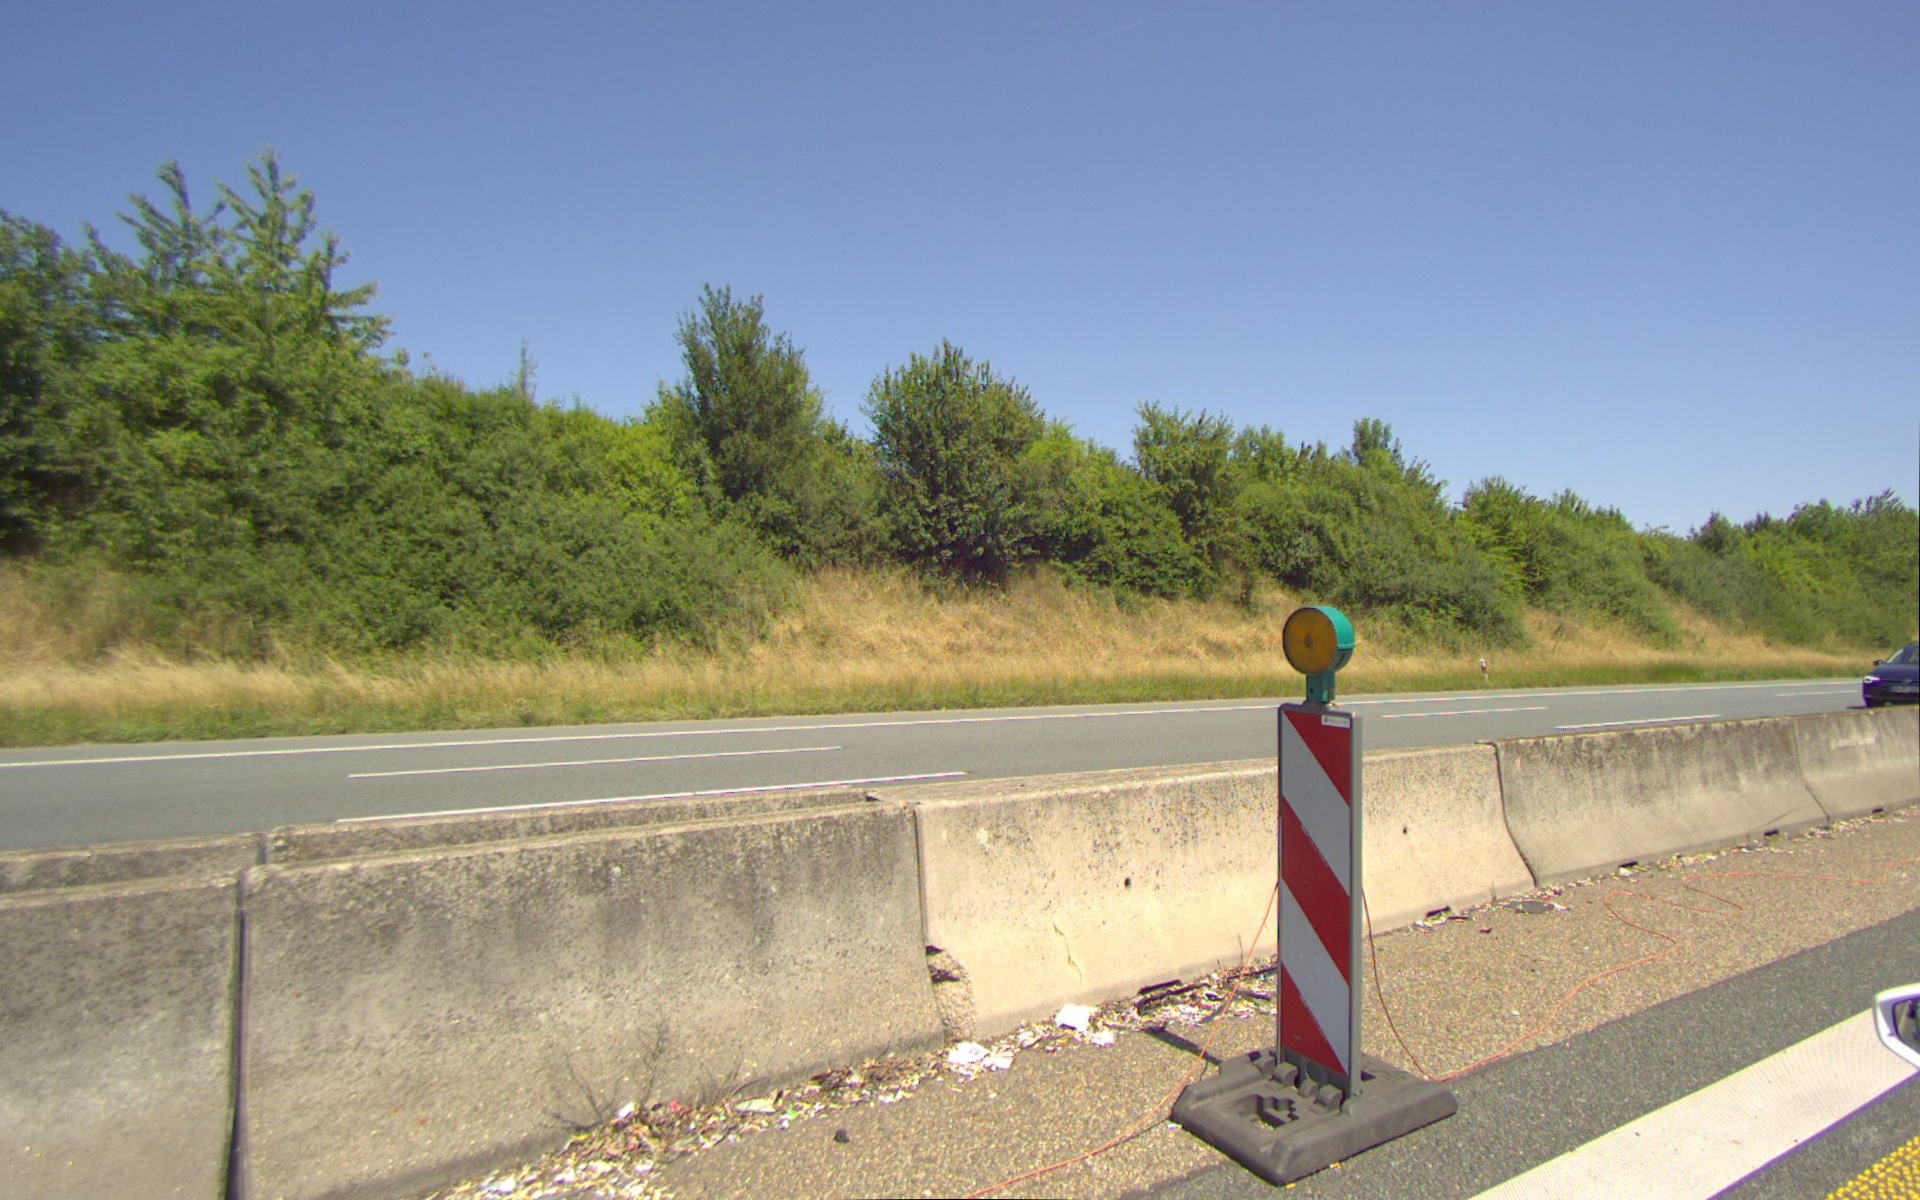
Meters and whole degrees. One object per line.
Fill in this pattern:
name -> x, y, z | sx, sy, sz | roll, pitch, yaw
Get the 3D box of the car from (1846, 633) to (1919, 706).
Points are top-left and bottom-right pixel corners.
car -> 21.749, 1.504, 22.269 | 4.440, 1.510, 1.854 | 1, -2, -30
